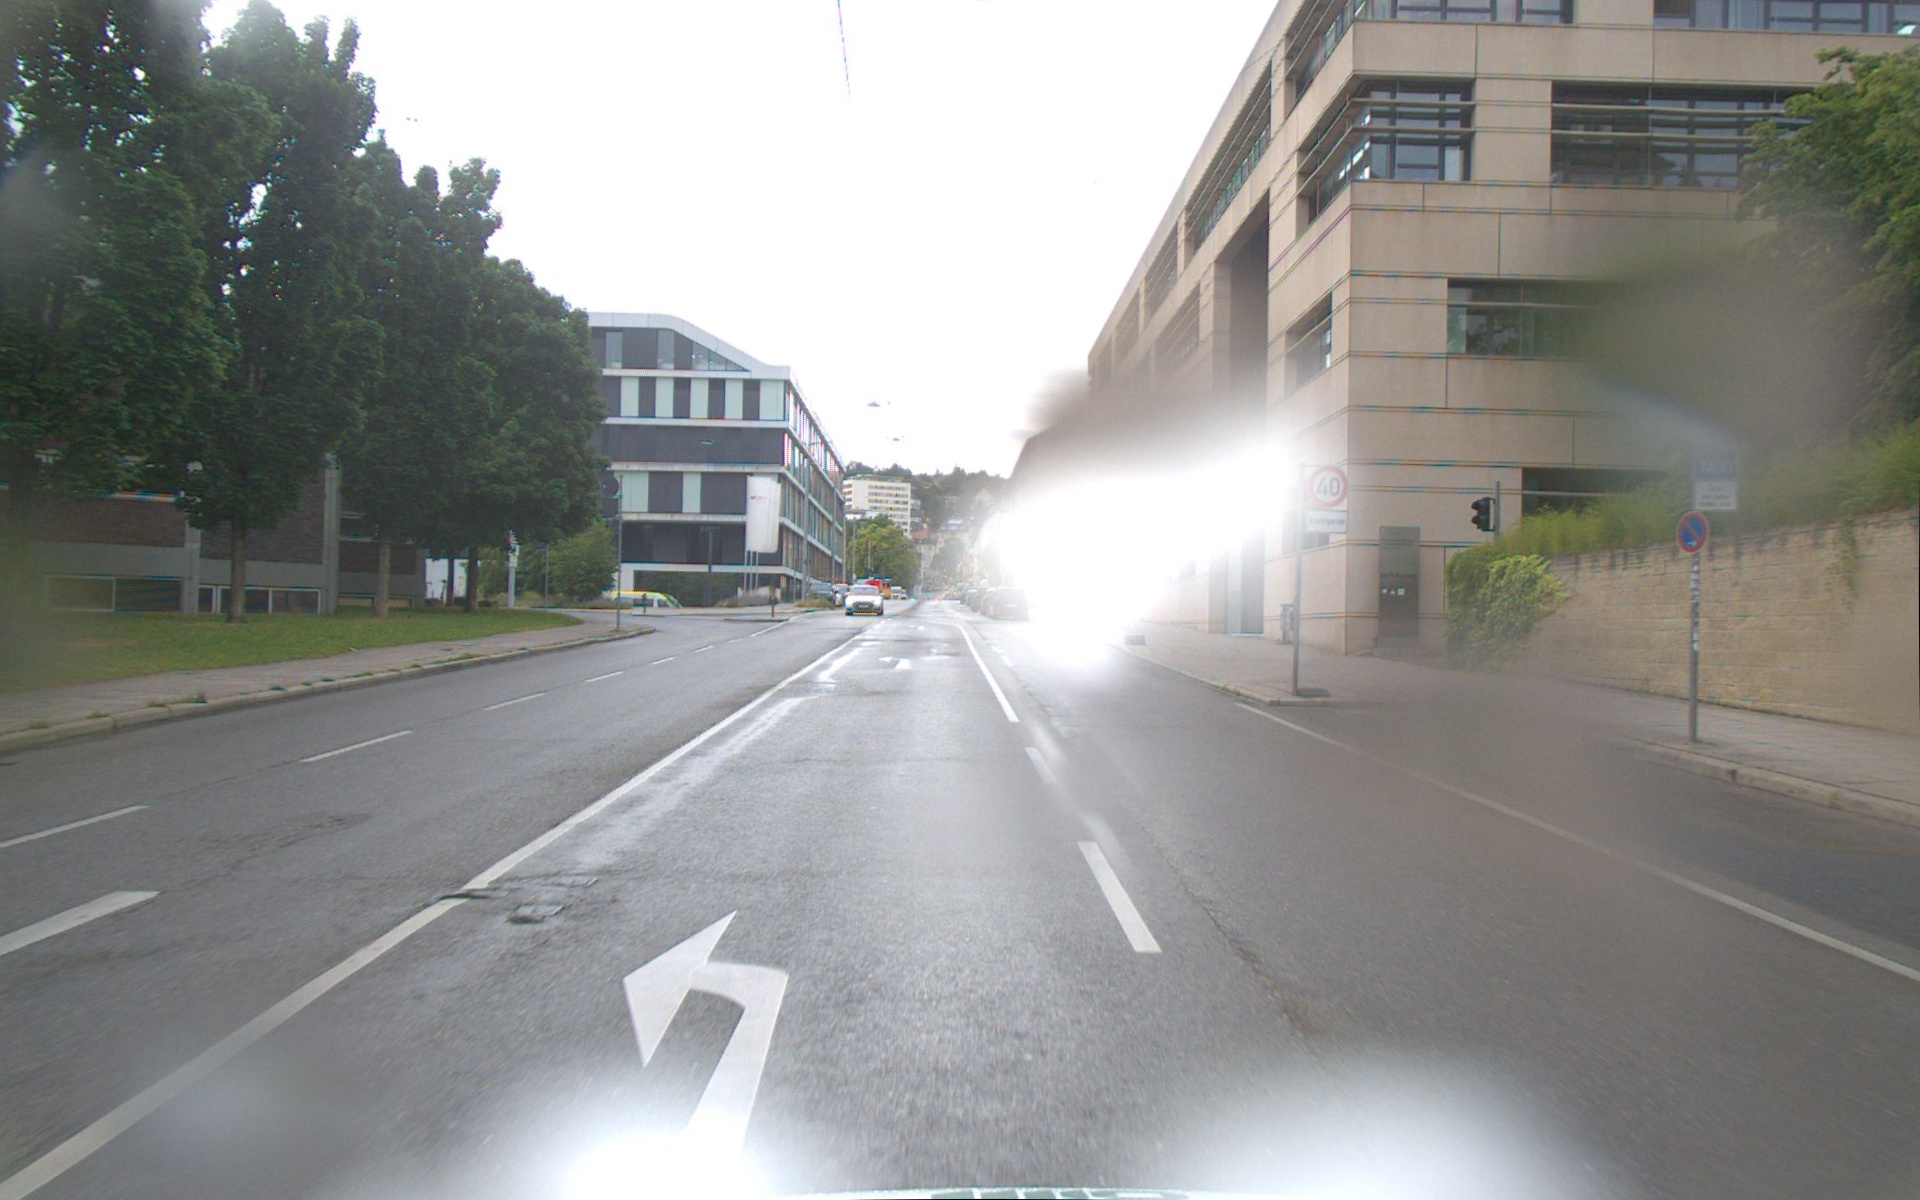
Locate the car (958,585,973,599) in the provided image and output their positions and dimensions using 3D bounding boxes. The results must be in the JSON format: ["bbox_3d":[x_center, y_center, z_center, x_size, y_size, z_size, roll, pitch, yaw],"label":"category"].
[{"bbox_3d":[0.693,-1.042,223.152,1.828,1.801,4.190,2,0,2],"label":"car"}]

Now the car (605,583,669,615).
[{"bbox_3d":[-24.126,-0.073,123.657,4.502,2.212,1.928,2,0,-7],"label":"car"}]

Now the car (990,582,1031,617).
[{"bbox_3d":[2.535,-0.027,83.759,1.735,1.632,4.392,2,0,-2],"label":"car"}]

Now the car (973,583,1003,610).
[{"bbox_3d":[1.974,-0.255,116.361,1.896,1.780,4.795,2,0,-1],"label":"car"}]

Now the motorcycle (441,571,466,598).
[{"bbox_3d":[-22.902,-0.703,74.793,1.203,1.205,0.411,2,-1,37],"label":"motorcycle"}]

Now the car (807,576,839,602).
[{"bbox_3d":[-9.207,-0.744,111.618,1.812,1.646,4.490,2,0,-1],"label":"car"}]

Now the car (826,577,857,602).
[{"bbox_3d":[-9.173,-0.803,128.466,1.922,1.780,4.942,2,0,1],"label":"car"}]

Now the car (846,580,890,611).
[{"bbox_3d":[-4.735,-0.260,85.763,1.842,1.517,5.221,-1,1,2],"label":"car"}]

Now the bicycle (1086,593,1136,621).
[{"bbox_3d":[5.492,0.267,60.068,1.724,0.970,0.659,1,0,-4],"label":"bicycle"}]

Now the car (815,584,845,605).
[{"bbox_3d":[-9.284,-0.402,118.318,1.784,1.443,4.401,2,0,-1],"label":"car"}]

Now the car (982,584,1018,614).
[{"bbox_3d":[2.214,-0.058,92.275,1.690,1.538,4.056,3,-1,-1],"label":"car"}]

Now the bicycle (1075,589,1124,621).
[{"bbox_3d":[5.133,0.194,61.041,1.696,1.138,0.659,1,0,-6],"label":"bicycle"}]

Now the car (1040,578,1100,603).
[{"bbox_3d":[8.303,-0.688,125.335,4.348,1.742,1.904,-2,0,-2],"label":"car"}]

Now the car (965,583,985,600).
[{"bbox_3d":[1.350,-0.780,150.969,1.672,1.479,3.983,2,0,-1],"label":"car"}]

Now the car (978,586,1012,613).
[{"bbox_3d":[2.084,-0.040,99.530,1.708,1.560,4.317,2,0,-2],"label":"car"}]
